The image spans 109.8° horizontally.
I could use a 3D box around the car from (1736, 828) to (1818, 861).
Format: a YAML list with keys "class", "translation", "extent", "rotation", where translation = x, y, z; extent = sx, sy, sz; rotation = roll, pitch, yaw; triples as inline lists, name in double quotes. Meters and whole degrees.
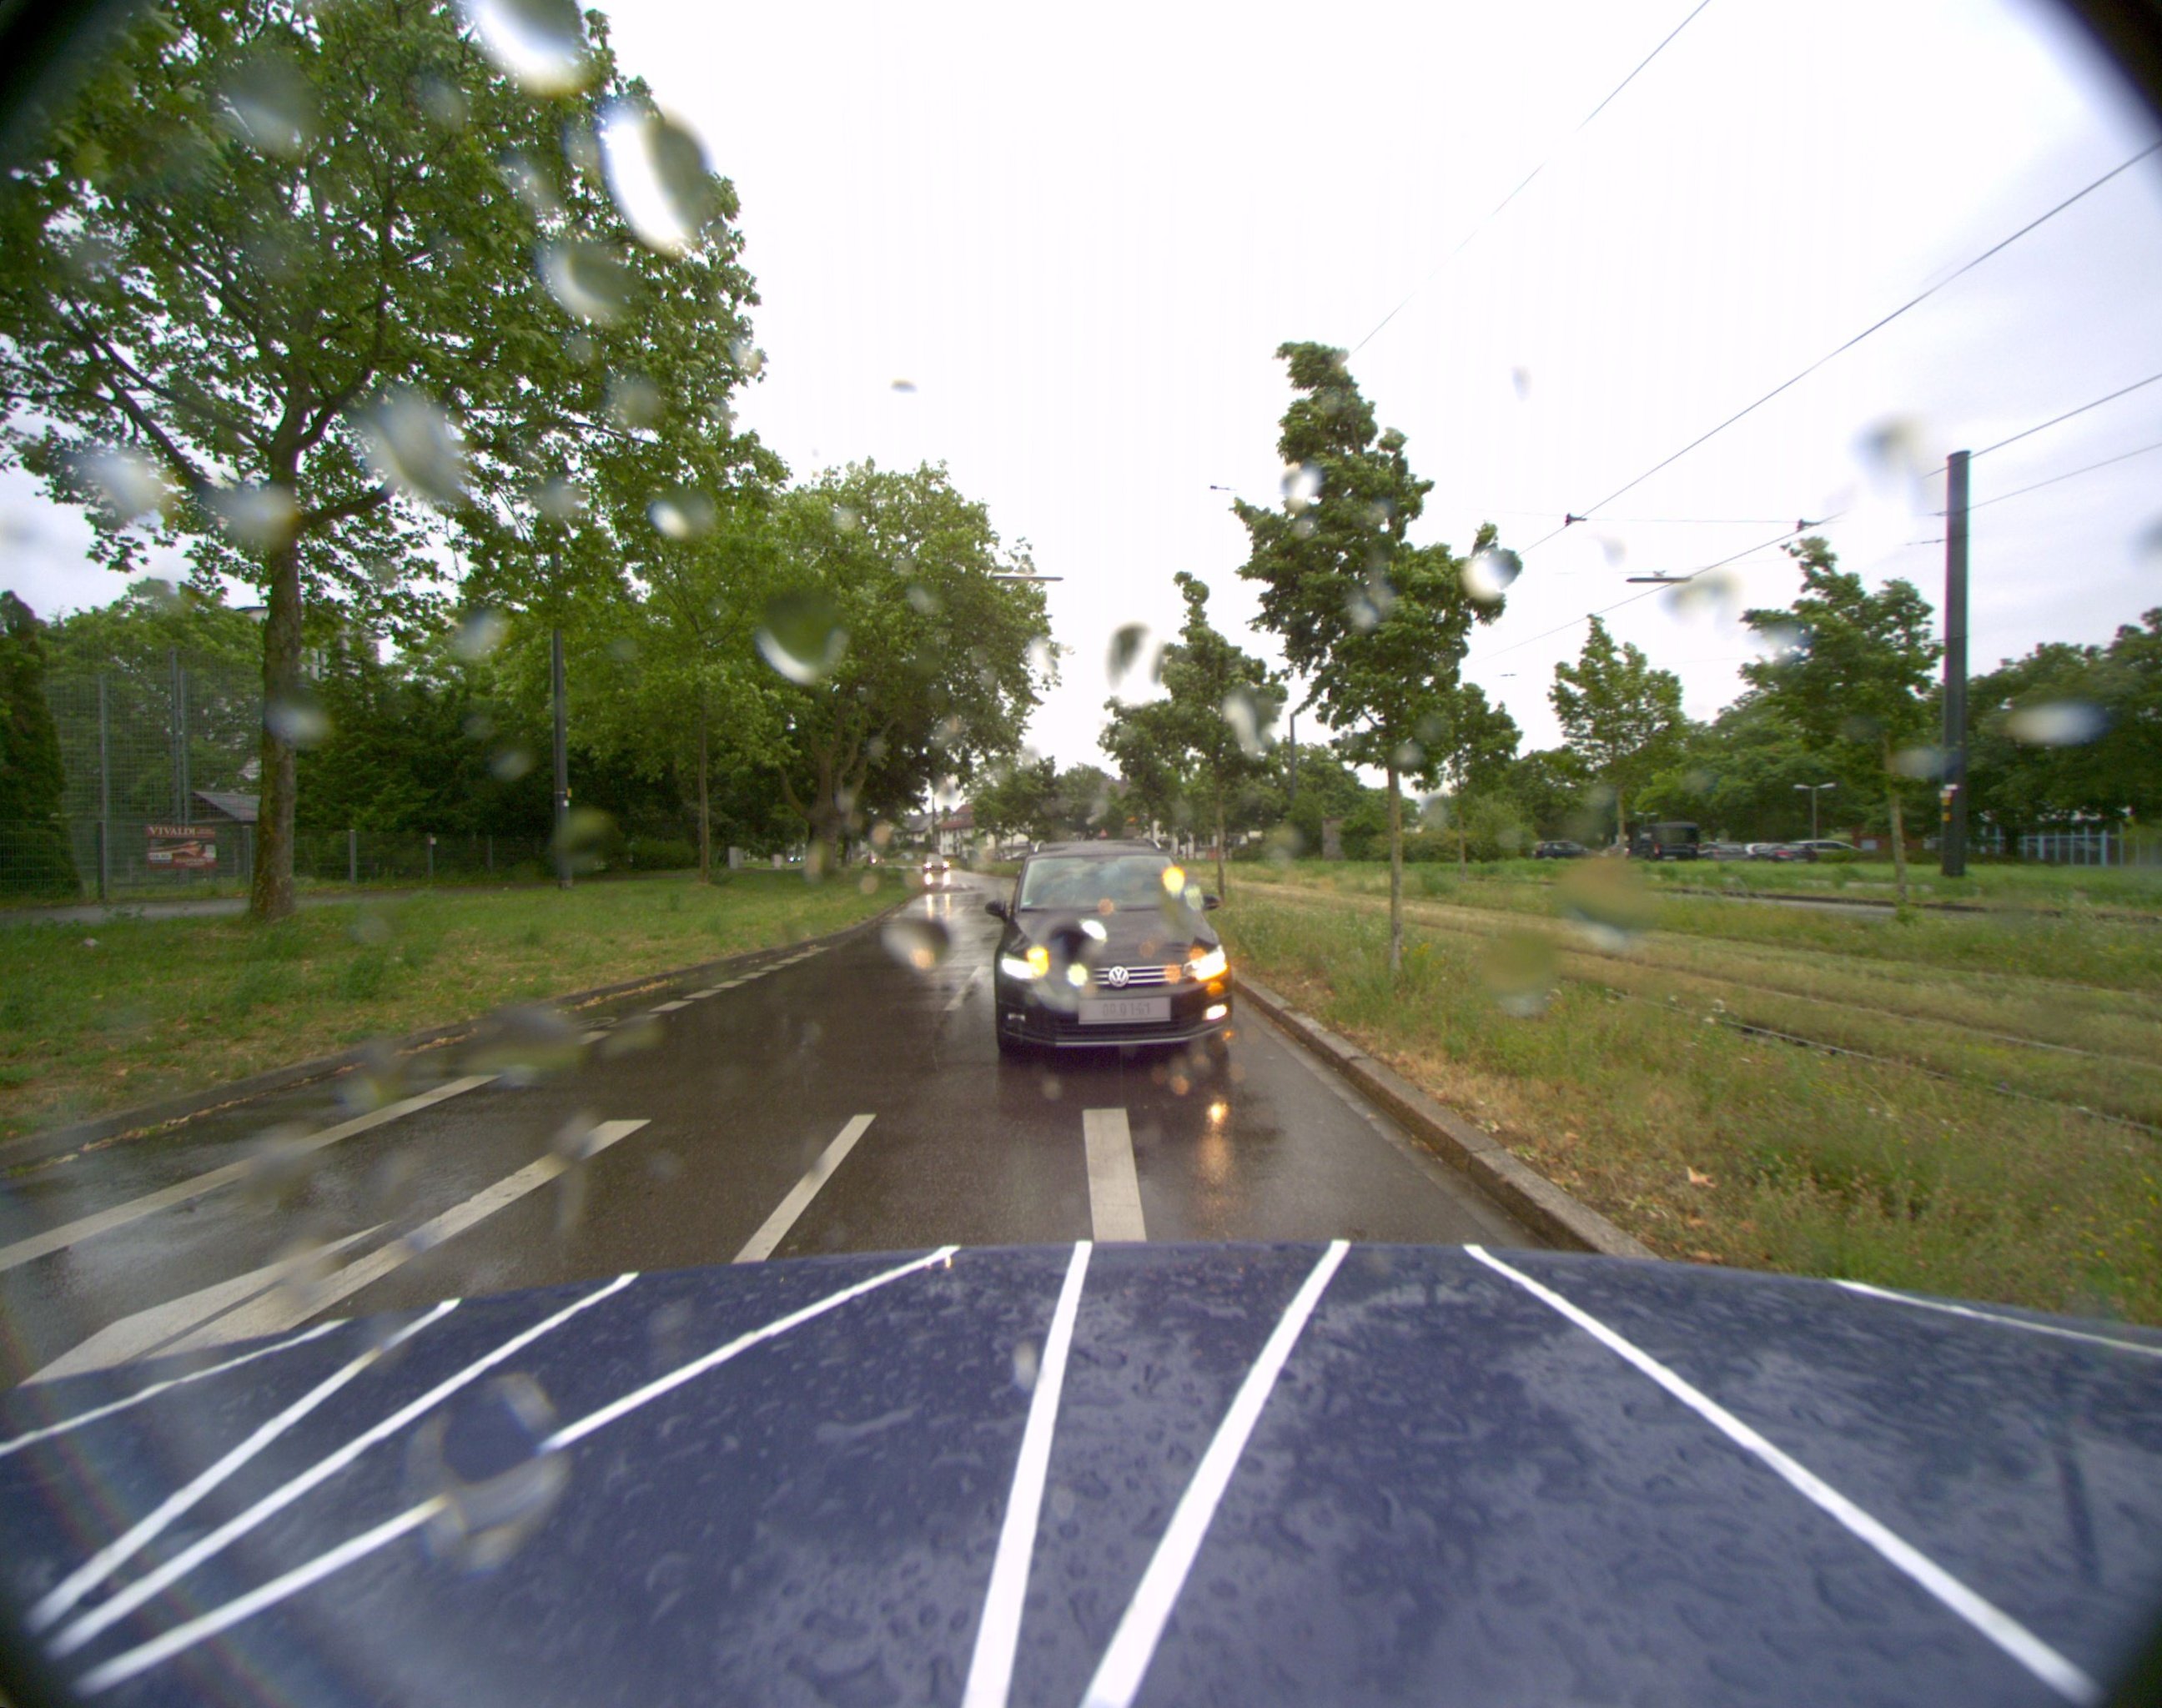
- class: "car"
  translation: [36.567, -0.548, 40.084]
  extent: [2.057, 1.564, 5.024]
  rotation: [-2, 1, 29]

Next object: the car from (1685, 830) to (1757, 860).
- class: "car"
  translation: [34.639, -0.516, 41.271]
  extent: [1.752, 1.522, 4.856]
  rotation: [-2, 1, 24]

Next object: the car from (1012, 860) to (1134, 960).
- class: "car"
  translation: [-0.180, 0.860, 13.428]
  extent: [1.788, 1.355, 3.996]
  rotation: [-2, 1, -2]

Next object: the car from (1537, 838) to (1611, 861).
- class: "car"
  translation: [34.771, -0.292, 53.718]
  extent: [4.172, 1.474, 1.786]
  rotation: [-2, 1, 27]

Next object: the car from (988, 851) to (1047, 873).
- class: "car"
  translation: [-4.668, 0.561, 55.644]
  extent: [4.046, 1.412, 1.674]
  rotation: [-2, 1, -10]

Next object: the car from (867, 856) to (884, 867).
- class: "car"
  translation: [-26.292, 0.952, 97.188]
  extent: [1.791, 1.373, 3.858]
  rotation: [-3, 1, -19]

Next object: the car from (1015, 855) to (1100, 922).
- class: "car"
  translation: [-0.687, 0.786, 19.039]
  extent: [1.789, 1.396, 3.791]
  rotation: [-2, 1, -6]

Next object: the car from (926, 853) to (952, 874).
- class: "car"
  translation: [-11.819, 0.759, 63.136]
  extent: [1.874, 1.608, 3.804]
  rotation: [-2, 1, -13]

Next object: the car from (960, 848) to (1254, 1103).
- class: "car"
  translation: [0.195, 0.777, 7.231]
  extent: [1.866, 1.592, 4.524]
  rotation: [-2, 1, 1]

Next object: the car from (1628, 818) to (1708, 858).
- class: "car"
  translation: [31.999, -0.885, 41.588]
  extent: [2.307, 2.002, 5.125]
  rotation: [-2, 1, 24]

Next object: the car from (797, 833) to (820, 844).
- class: "car"
  translation: [-51.635, -2.969, 143.922]
  extent: [4.004, 1.816, 1.996]
  rotation: [-3, 1, -24]
